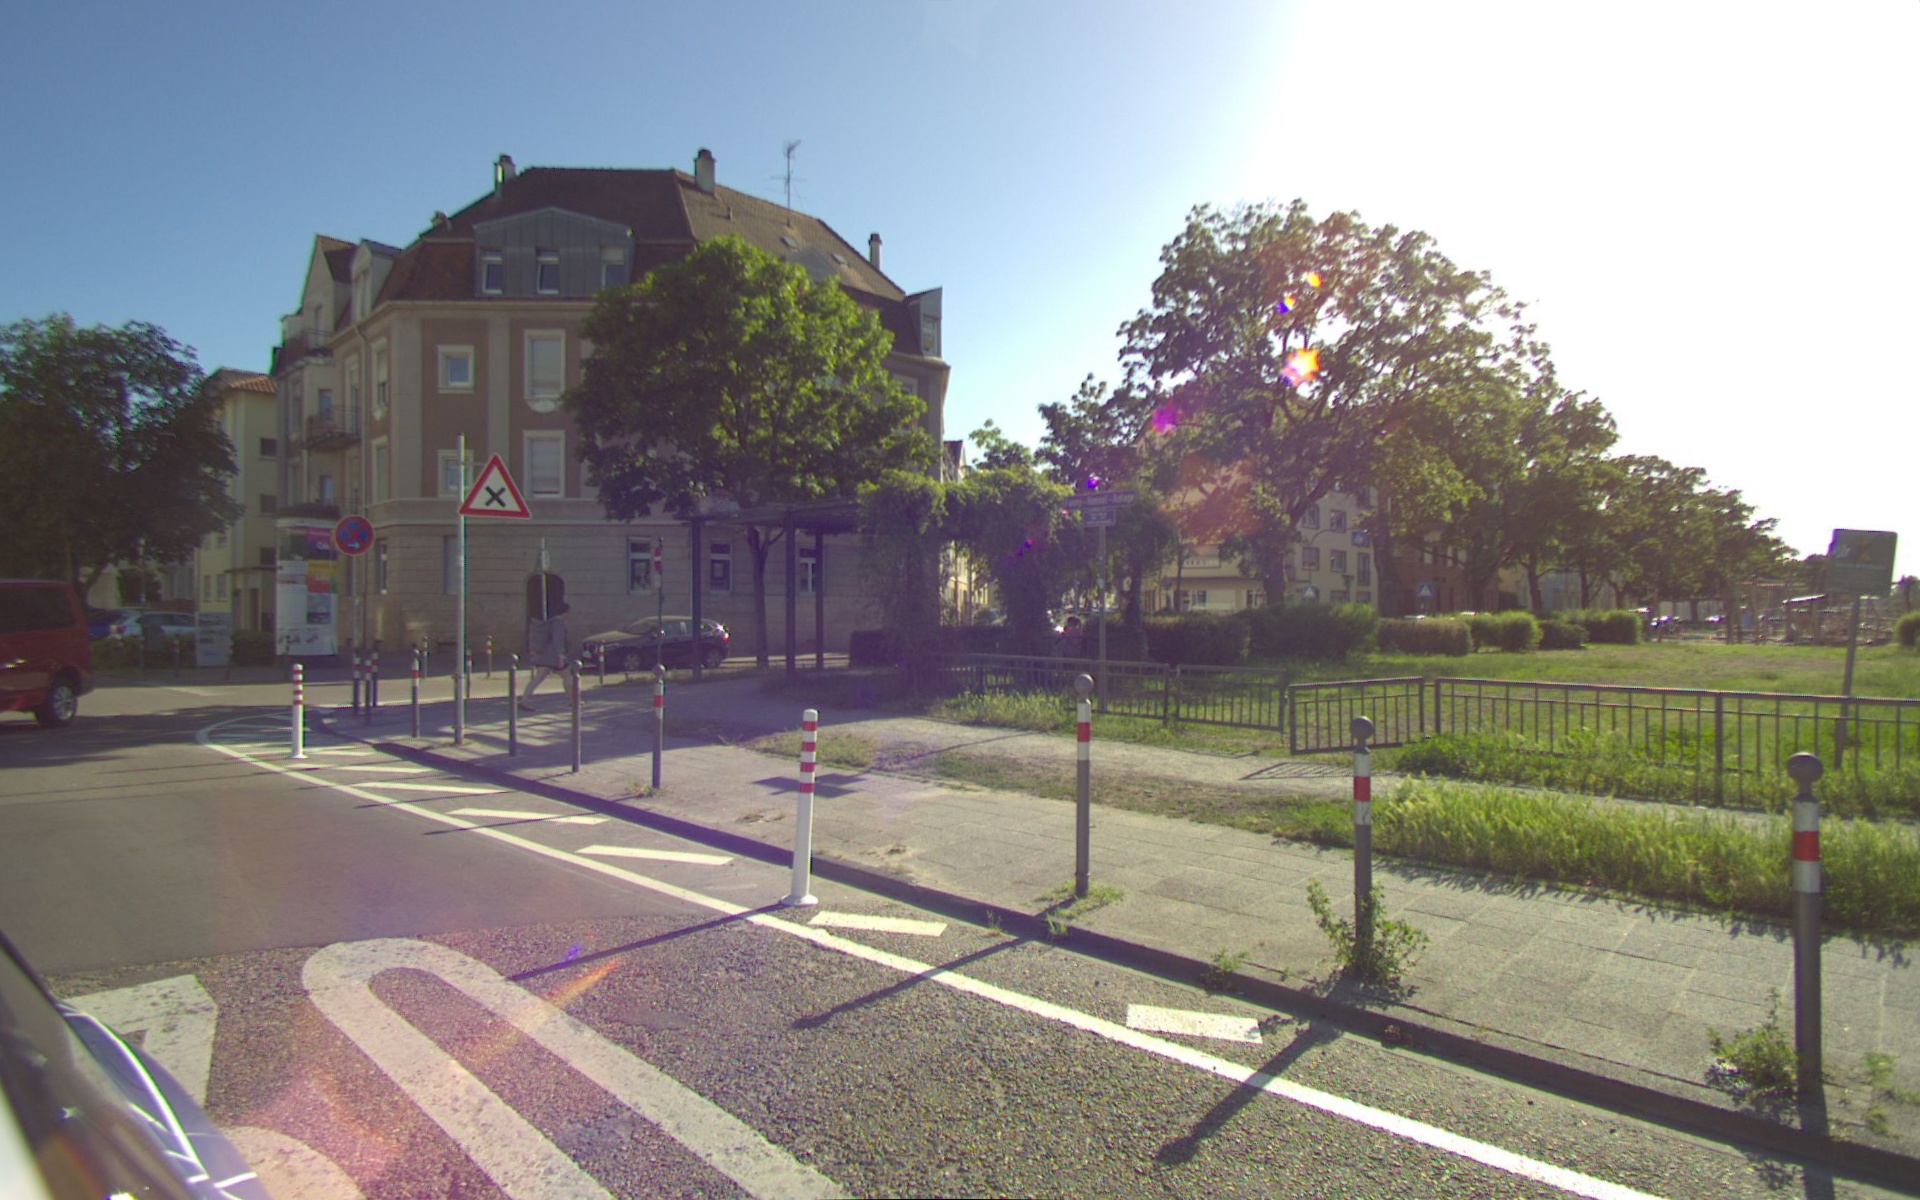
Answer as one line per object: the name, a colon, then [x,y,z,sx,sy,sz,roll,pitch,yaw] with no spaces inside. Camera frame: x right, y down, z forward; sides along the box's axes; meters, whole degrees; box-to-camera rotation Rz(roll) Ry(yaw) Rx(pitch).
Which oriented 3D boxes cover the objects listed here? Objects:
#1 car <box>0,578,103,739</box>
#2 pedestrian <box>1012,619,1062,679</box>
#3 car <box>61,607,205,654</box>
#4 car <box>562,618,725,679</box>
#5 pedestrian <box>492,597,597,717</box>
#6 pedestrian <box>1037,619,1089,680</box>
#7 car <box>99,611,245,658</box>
car: [-12.574,0.705,11.782,1.865,1.975,4.899,1,0,-13]
pedestrian: [1.527,0.953,20.103,0.599,1.158,0.834,-1,-2,45]
car: [-29.254,1.042,35.865,1.691,1.506,3.739,-1,0,41]
car: [-8.865,1.311,28.563,1.867,1.494,3.960,3,1,41]
pedestrian: [-6.225,0.816,15.194,0.909,1.686,1.081,0,2,26]
pedestrian: [1.997,0.945,19.610,0.599,1.147,0.862,-1,-2,45]
car: [-27.138,1.150,34.920,1.691,1.455,3.739,-1,0,41]
